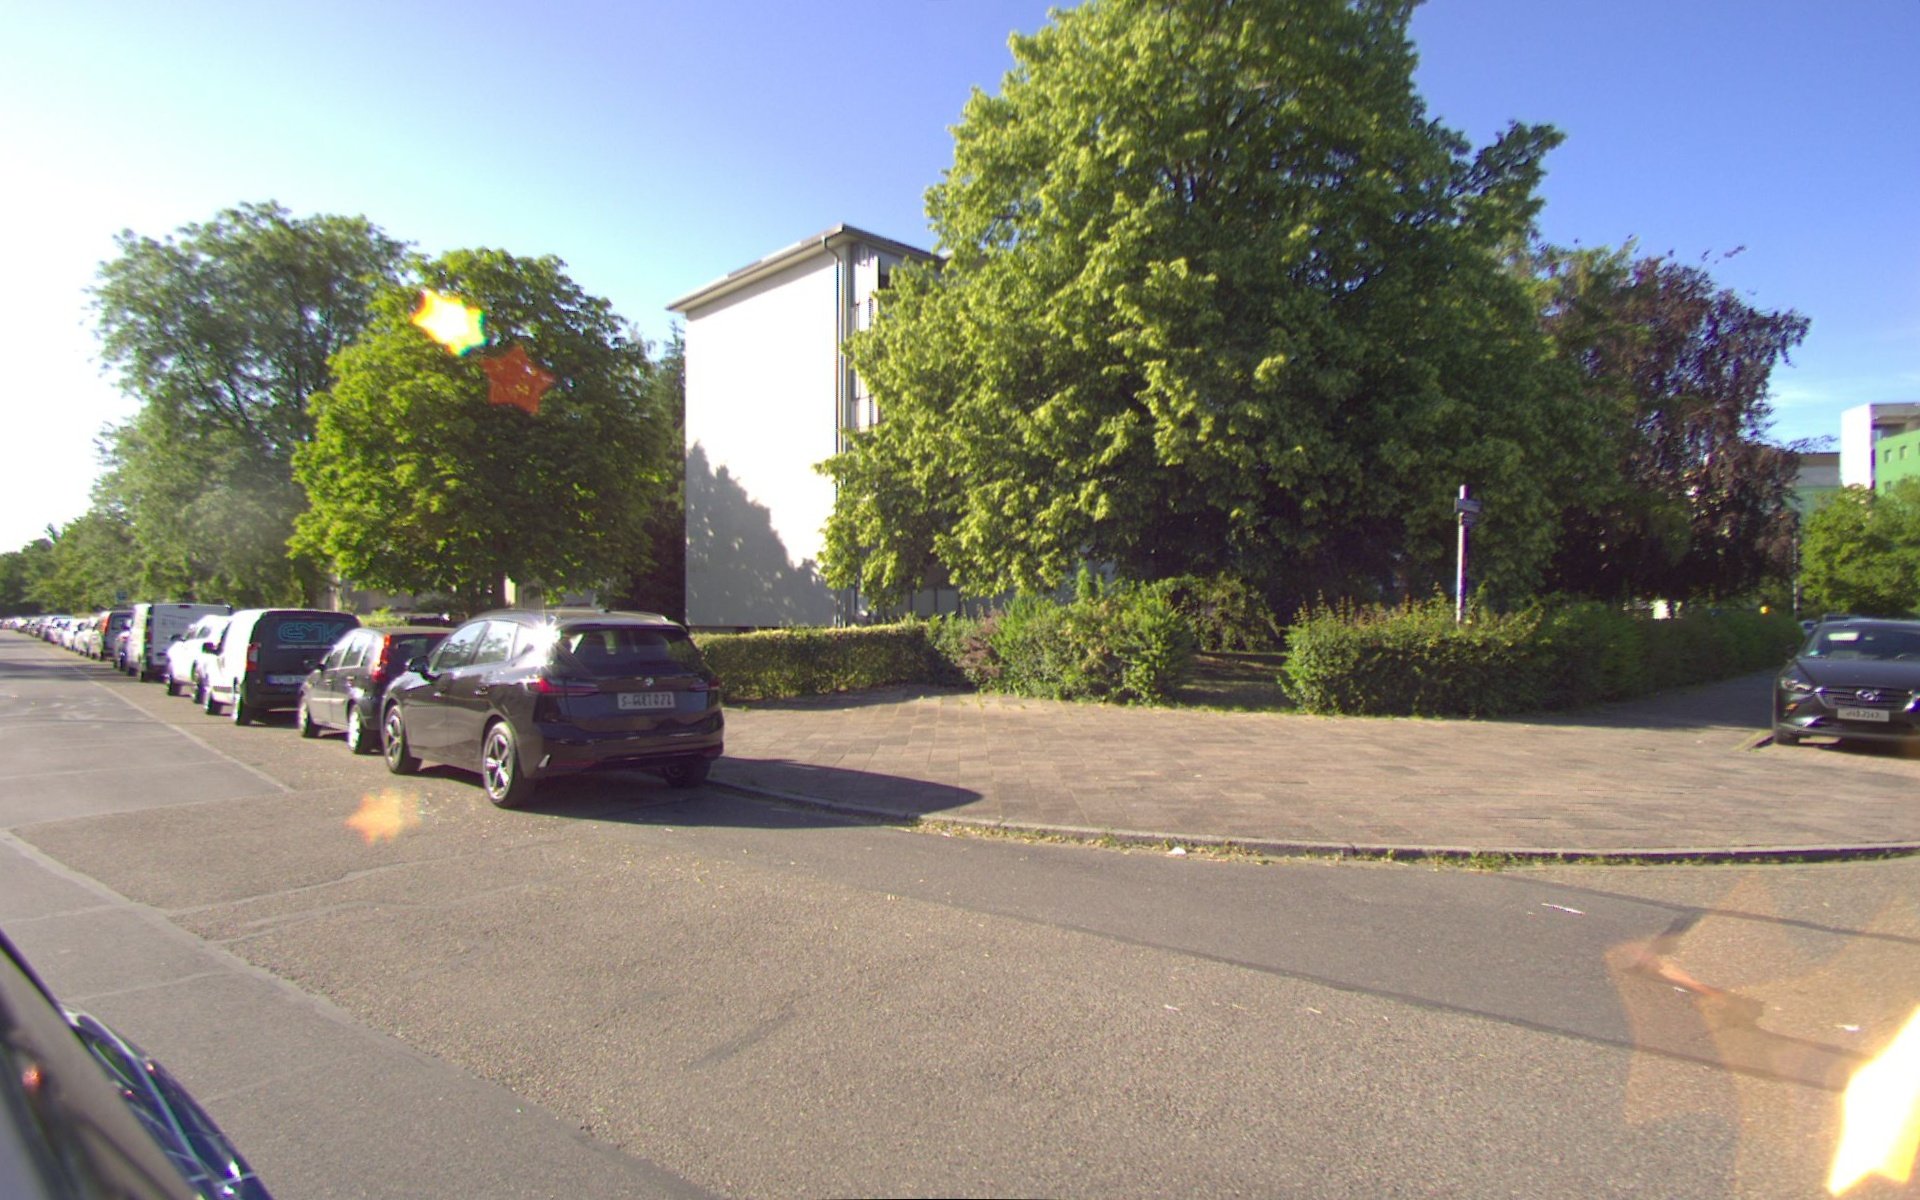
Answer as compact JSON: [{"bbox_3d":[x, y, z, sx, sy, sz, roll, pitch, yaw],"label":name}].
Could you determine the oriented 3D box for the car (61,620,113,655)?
[{"bbox_3d":[-42.870,1.852,49.670,1.610,1.641,3.558,4,-4,-45],"label":"car"}]

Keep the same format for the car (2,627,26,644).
[{"bbox_3d":[-94.772,3.532,101.361,1.610,1.641,3.558,4,-4,-45],"label":"car"}]

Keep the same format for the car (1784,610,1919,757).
[{"bbox_3d":[11.305,0.948,12.328,1.746,1.554,3.872,-1,-2,43],"label":"car"}]

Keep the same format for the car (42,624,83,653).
[{"bbox_3d":[-54.278,2.333,61.181,1.610,1.641,3.558,4,-4,-45],"label":"car"}]

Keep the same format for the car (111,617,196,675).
[{"bbox_3d":[-24.559,1.388,30.767,1.707,1.652,3.817,4,-4,-42],"label":"car"}]

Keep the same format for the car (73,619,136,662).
[{"bbox_3d":[-35.012,1.651,41.400,1.610,1.641,3.558,4,-4,-45],"label":"car"}]

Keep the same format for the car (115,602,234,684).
[{"bbox_3d":[-20.464,1.118,26.307,1.882,1.956,4.514,4,-4,-44],"label":"car"}]

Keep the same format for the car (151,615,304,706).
[{"bbox_3d":[-14.860,1.189,20.459,4.170,1.652,1.709,-2,-4,44],"label":"car"}]

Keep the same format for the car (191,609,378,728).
[{"bbox_3d":[-10.975,1.062,16.362,1.792,1.695,3.650,4,-4,-44],"label":"car"}]

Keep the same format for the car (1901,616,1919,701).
[{"bbox_3d":[19.508,1.139,19.669,1.746,1.554,4.042,-1,-2,43],"label":"car"}]

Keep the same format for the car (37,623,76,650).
[{"bbox_3d":[-58.222,2.353,65.210,1.610,1.641,3.558,4,-4,-45],"label":"car"}]

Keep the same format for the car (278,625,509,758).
[{"bbox_3d":[-7.303,1.075,12.908,1.605,1.448,3.656,4,-4,-45],"label":"car"}]

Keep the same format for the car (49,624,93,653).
[{"bbox_3d":[-51.417,2.225,58.507,1.610,1.641,3.558,4,-4,-45],"label":"car"}]

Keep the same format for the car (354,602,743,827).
[{"bbox_3d":[-3.989,0.879,9.365,1.759,1.586,4.426,2,-3,-45],"label":"car"}]

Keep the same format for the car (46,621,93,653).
[{"bbox_3d":[-47.312,1.962,53.752,1.610,1.641,3.558,4,-4,-45],"label":"car"}]

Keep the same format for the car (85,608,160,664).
[{"bbox_3d":[-31.021,1.334,37.439,1.708,1.968,3.814,4,-4,-45],"label":"car"}]

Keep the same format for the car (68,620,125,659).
[{"bbox_3d":[-38.583,1.776,45.210,1.610,1.641,3.558,4,-4,-45],"label":"car"}]

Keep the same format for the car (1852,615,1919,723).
[{"bbox_3d":[15.206,1.049,15.867,1.746,1.554,3.872,-1,-2,43],"label":"car"}]
